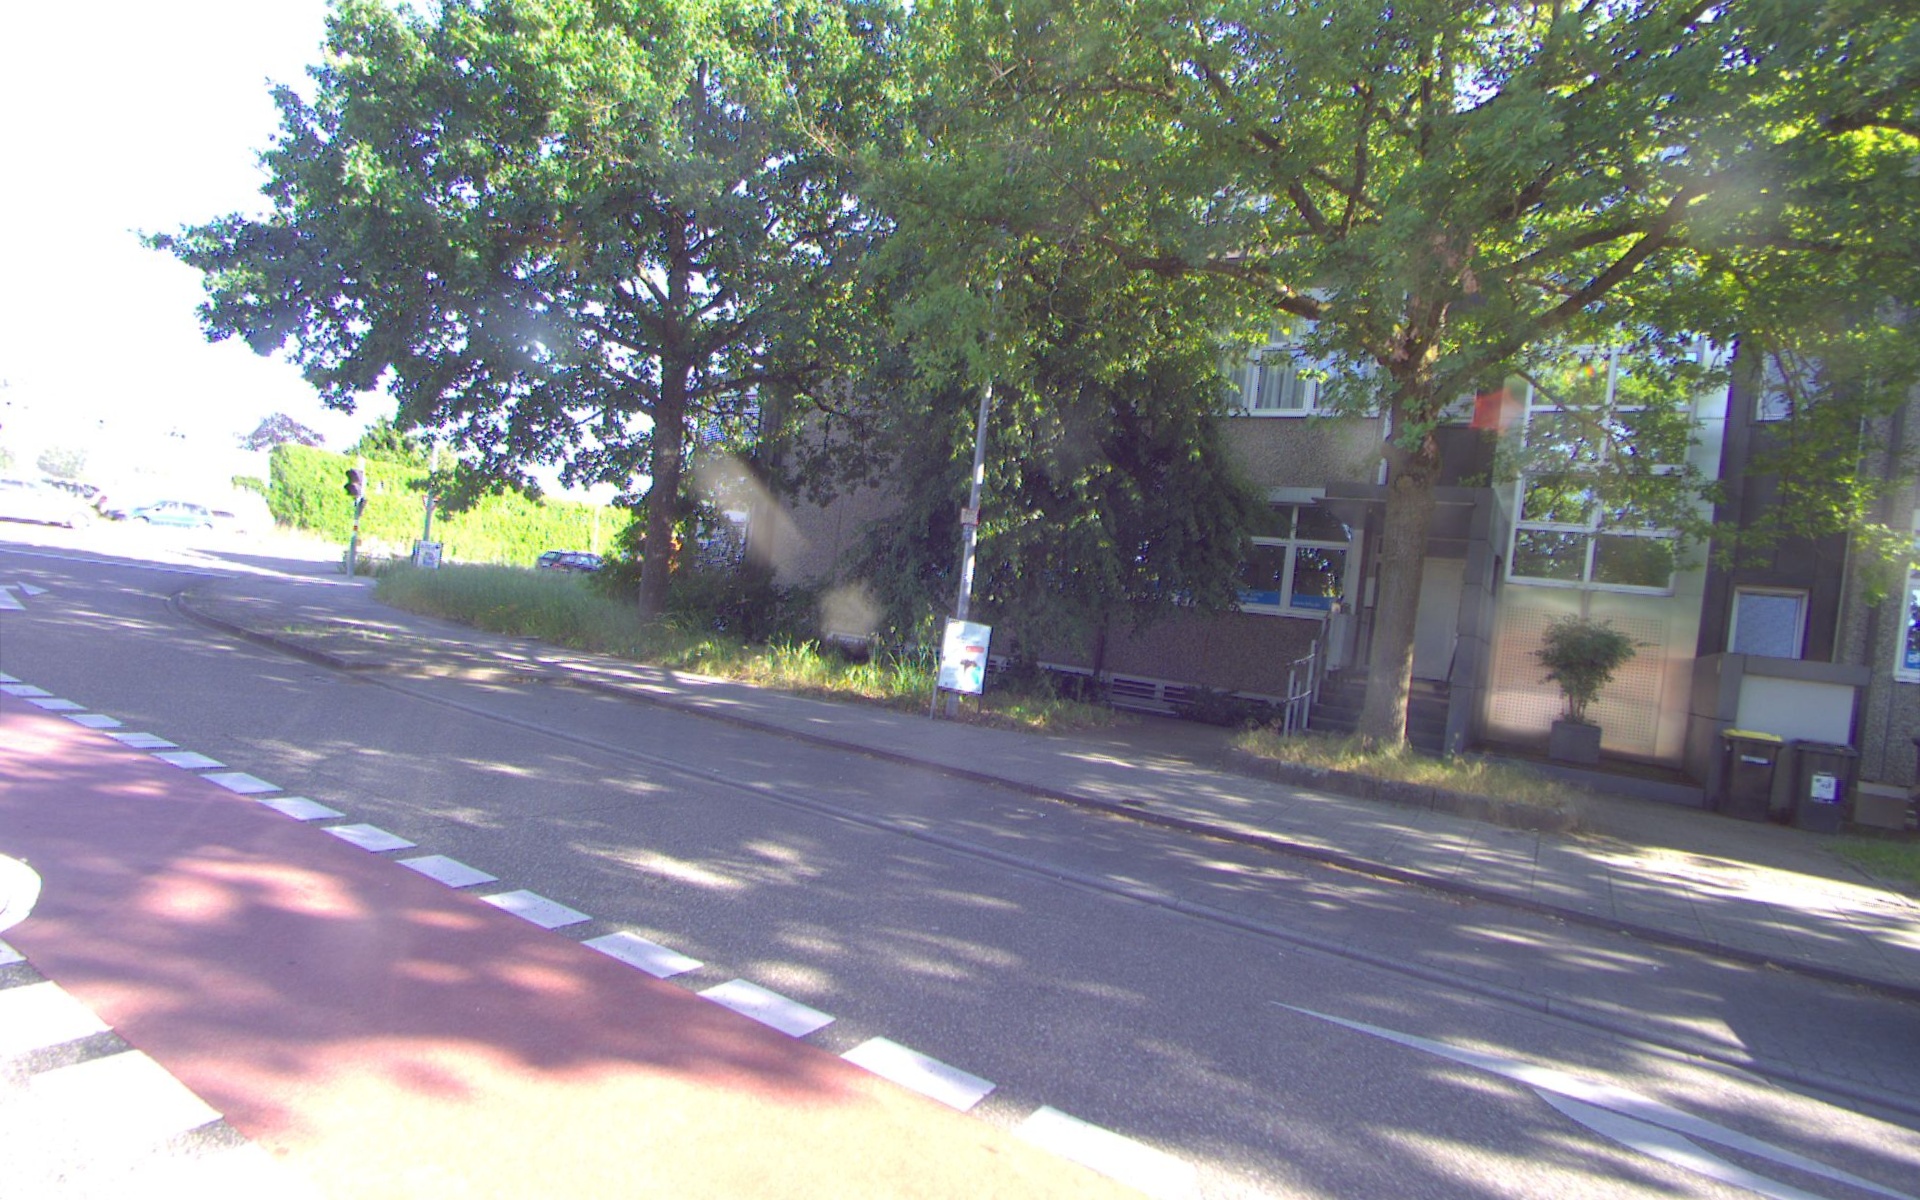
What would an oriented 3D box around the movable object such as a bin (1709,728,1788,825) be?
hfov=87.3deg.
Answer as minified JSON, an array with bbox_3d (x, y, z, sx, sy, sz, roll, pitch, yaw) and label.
[{"bbox_3d":[9.669,2.143,12.355,0.571,1.045,0.713,7,0,31],"label":"movable object such as a bin"}]

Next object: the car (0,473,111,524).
[{"bbox_3d":[-34.381,-3.831,37.223,1.548,1.317,4.171,6,-2,28],"label":"car"}]

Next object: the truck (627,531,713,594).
[{"bbox_3d":[-22.515,-2.820,78.424,2.429,4.047,6.415,7,0,25],"label":"truck"}]

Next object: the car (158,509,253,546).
[{"bbox_3d":[-38.578,-3.697,51.507,1.330,1.280,3.590,7,-1,30],"label":"car"}]

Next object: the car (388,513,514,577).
[{"bbox_3d":[-14.341,-1.508,28.534,1.433,1.311,3.412,7,-2,7],"label":"car"}]

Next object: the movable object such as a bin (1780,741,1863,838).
[{"bbox_3d":[10.292,2.246,12.041,0.566,1.019,0.629,6,-1,31],"label":"movable object such as a bin"}]

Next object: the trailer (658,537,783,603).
[{"bbox_3d":[-19.752,-2.355,84.303,2.426,4.078,12.768,7,-1,25],"label":"trailer"}]

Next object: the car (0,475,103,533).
[{"bbox_3d":[-30.629,-3.210,32.793,1.565,1.503,3.680,6,-1,25],"label":"car"}]

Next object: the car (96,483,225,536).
[{"bbox_3d":[-35.089,-3.941,44.273,1.666,1.570,4.000,6,-2,25],"label":"car"}]

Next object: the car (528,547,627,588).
[{"bbox_3d":[-18.759,-1.566,49.591,1.653,1.458,4.470,7,0,28],"label":"car"}]
